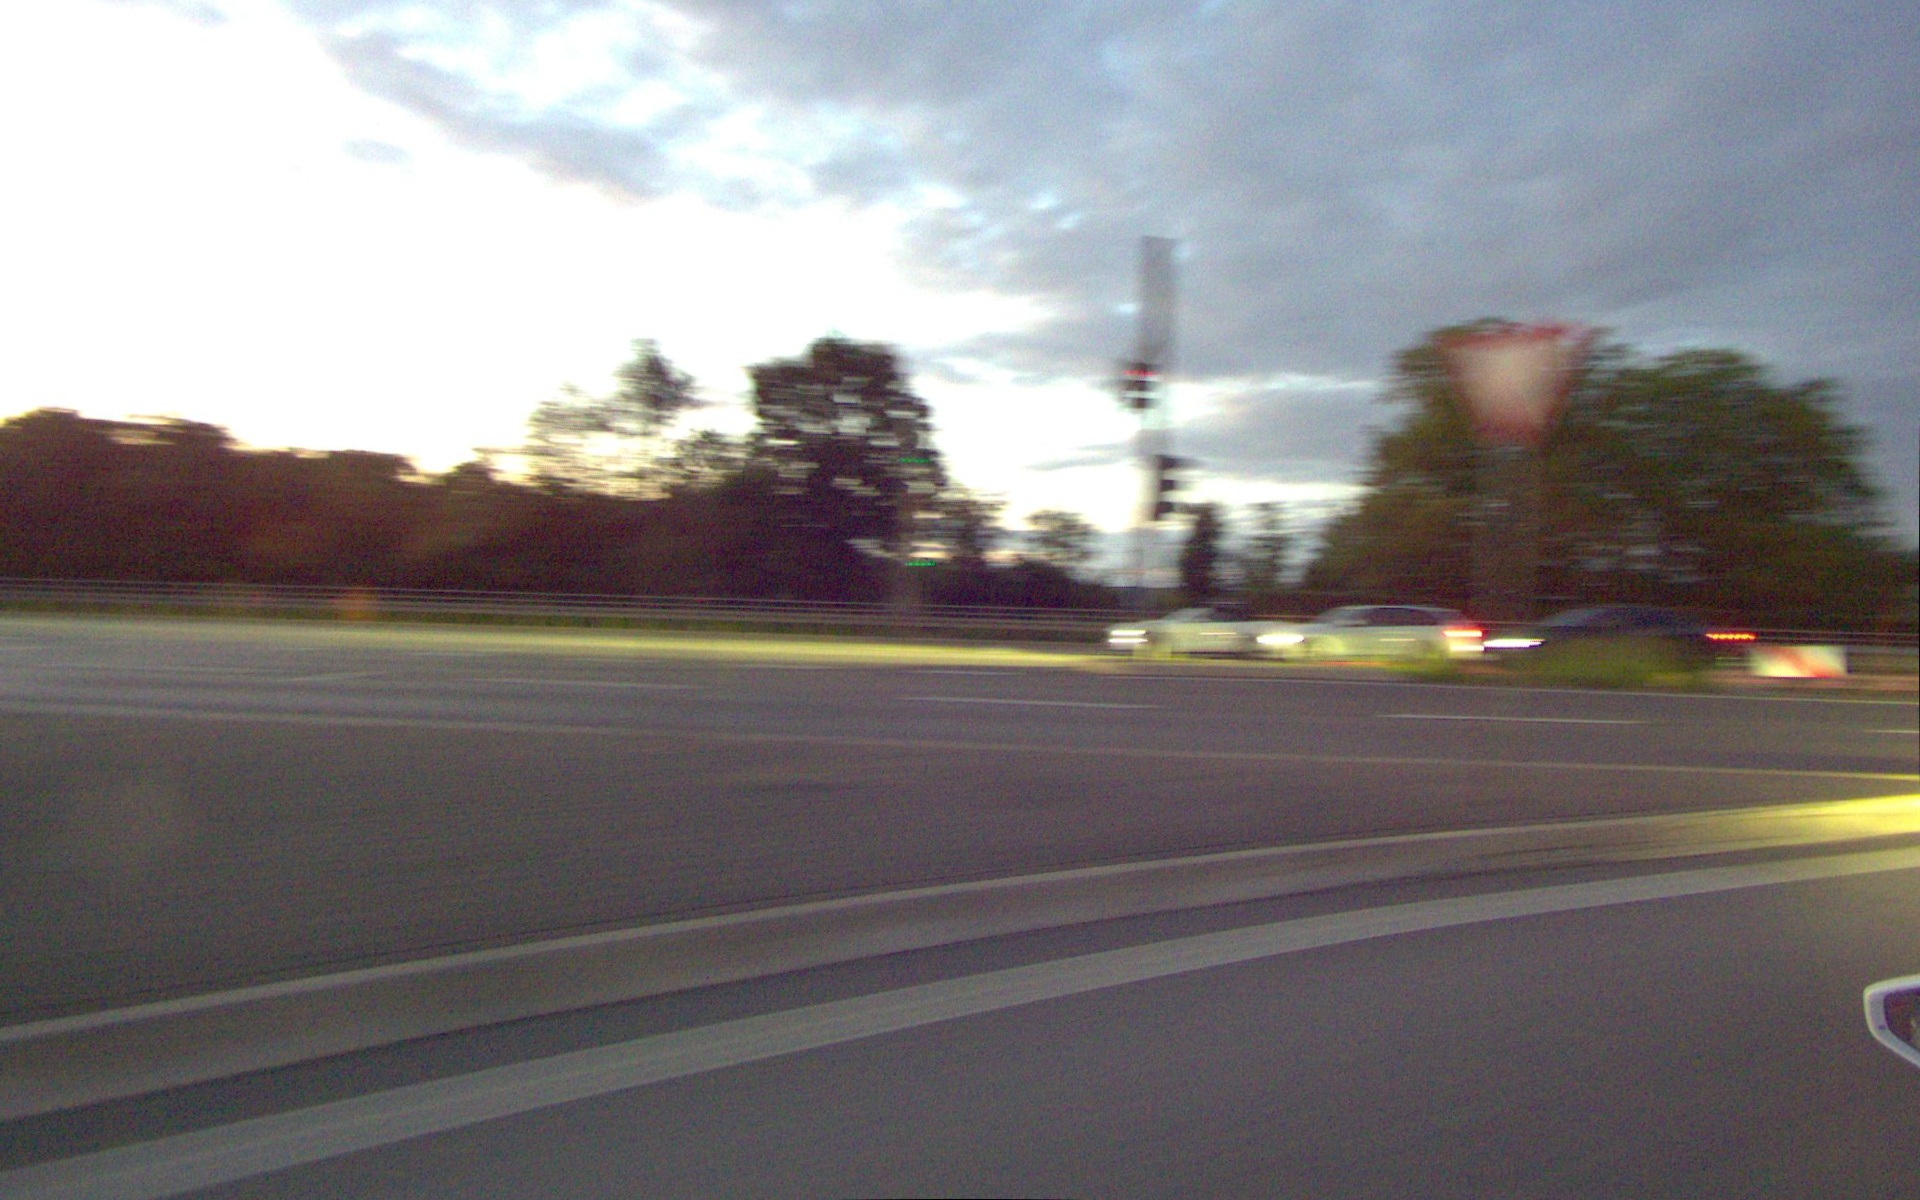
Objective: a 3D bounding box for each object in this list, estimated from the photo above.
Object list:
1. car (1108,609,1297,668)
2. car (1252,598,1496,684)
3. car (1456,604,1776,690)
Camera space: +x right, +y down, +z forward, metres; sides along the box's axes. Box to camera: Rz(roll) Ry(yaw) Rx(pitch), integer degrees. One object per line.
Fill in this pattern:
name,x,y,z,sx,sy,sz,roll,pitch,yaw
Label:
car,6.461,1.020,27.141,4.640,1.472,2.000,1,-1,1
car,9.484,0.928,23.292,4.777,1.704,2.000,2,-1,0
car,12.771,0.903,19.819,4.946,1.472,2.001,2,-1,3
